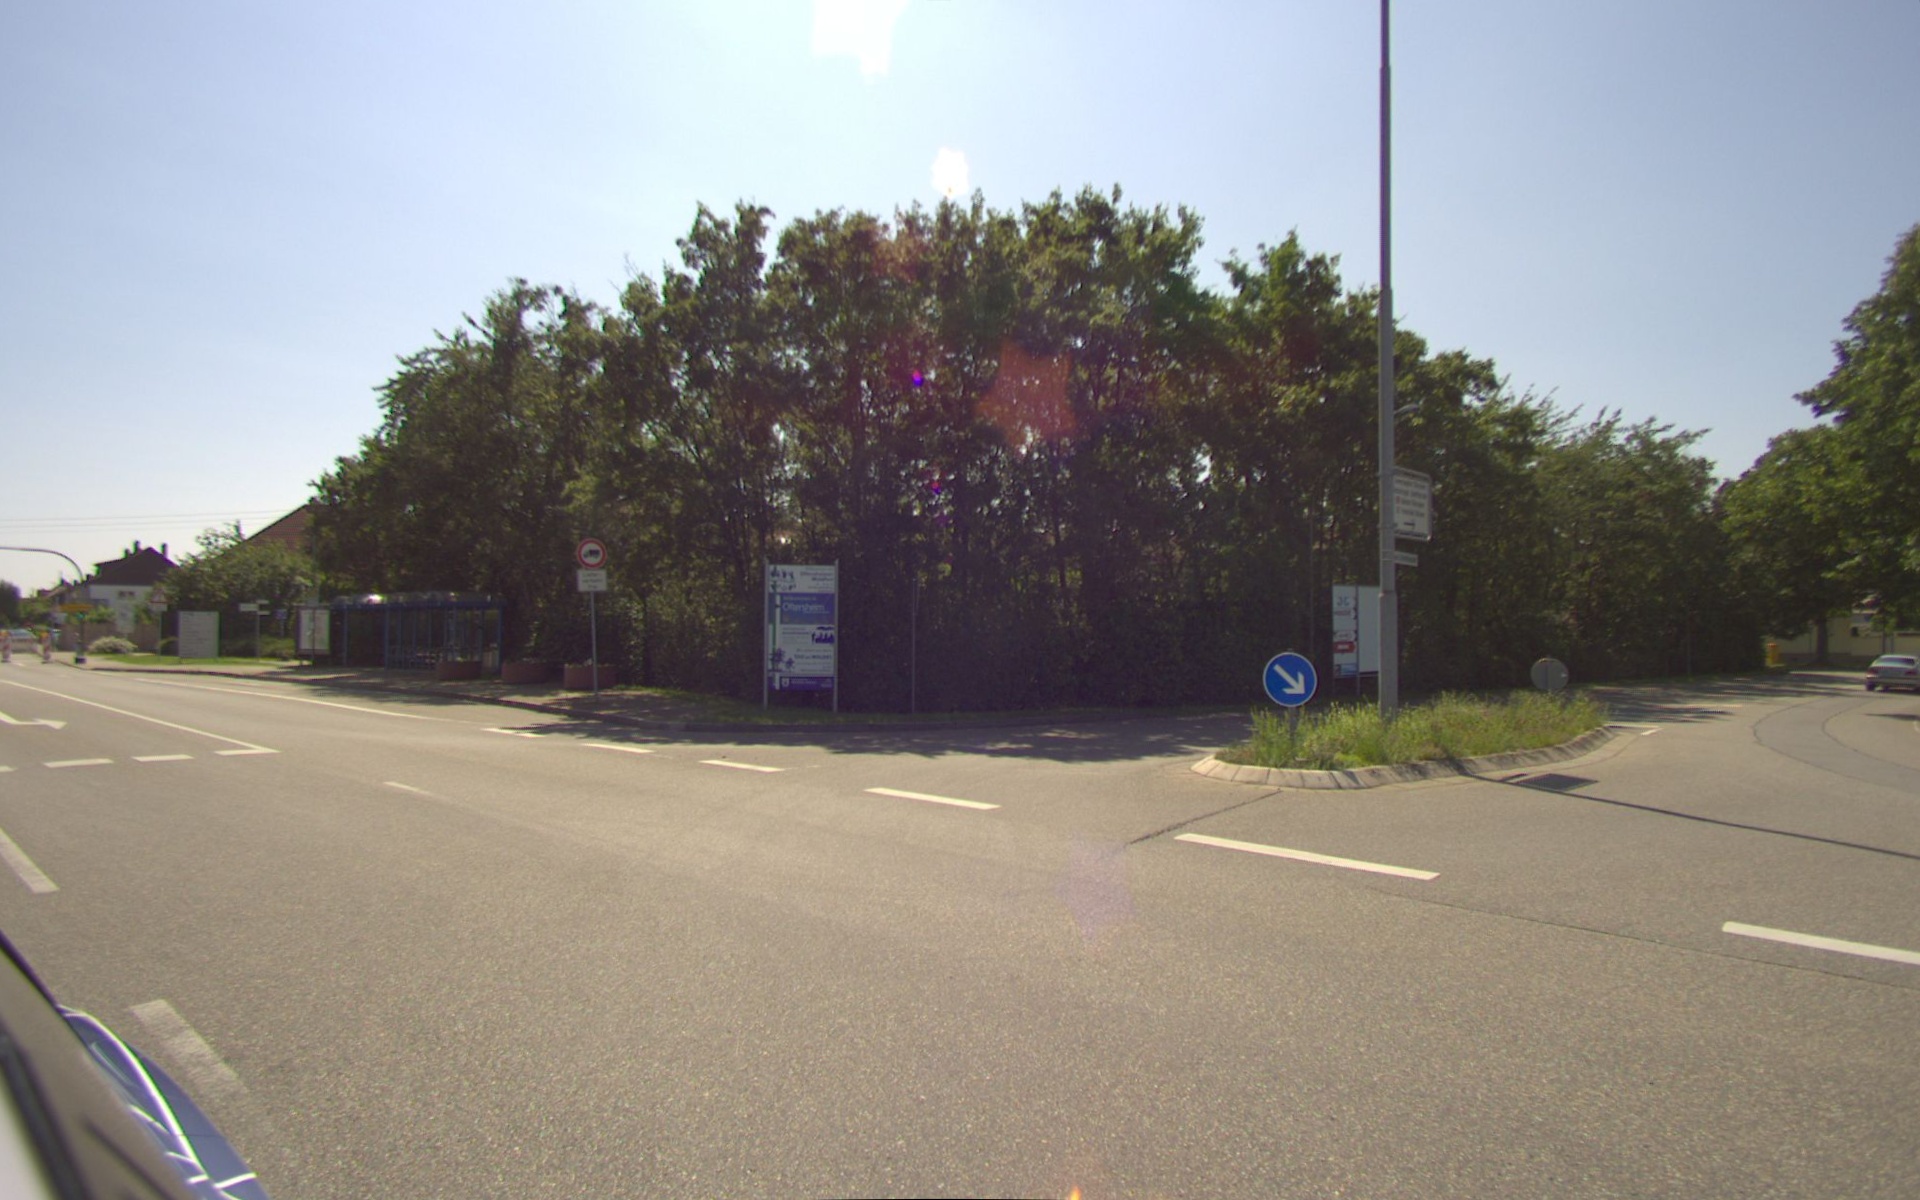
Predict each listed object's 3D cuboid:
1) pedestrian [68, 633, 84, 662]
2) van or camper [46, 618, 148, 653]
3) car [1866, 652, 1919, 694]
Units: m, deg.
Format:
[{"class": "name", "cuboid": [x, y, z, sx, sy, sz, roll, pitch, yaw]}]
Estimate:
[{"class": "pedestrian", "cuboid": [-51.161, 2.754, 58.548, 0.688, 1.620, 0.607, -2, 0, 45]}, {"class": "van or camper", "cuboid": [-73.802, 3.062, 86.647, 2.285, 2.866, 6.187, -2, -3, 35]}, {"class": "car", "cuboid": [36.760, 2.775, 38.992, 4.341, 1.482, 1.646, 1, -3, -33]}]
